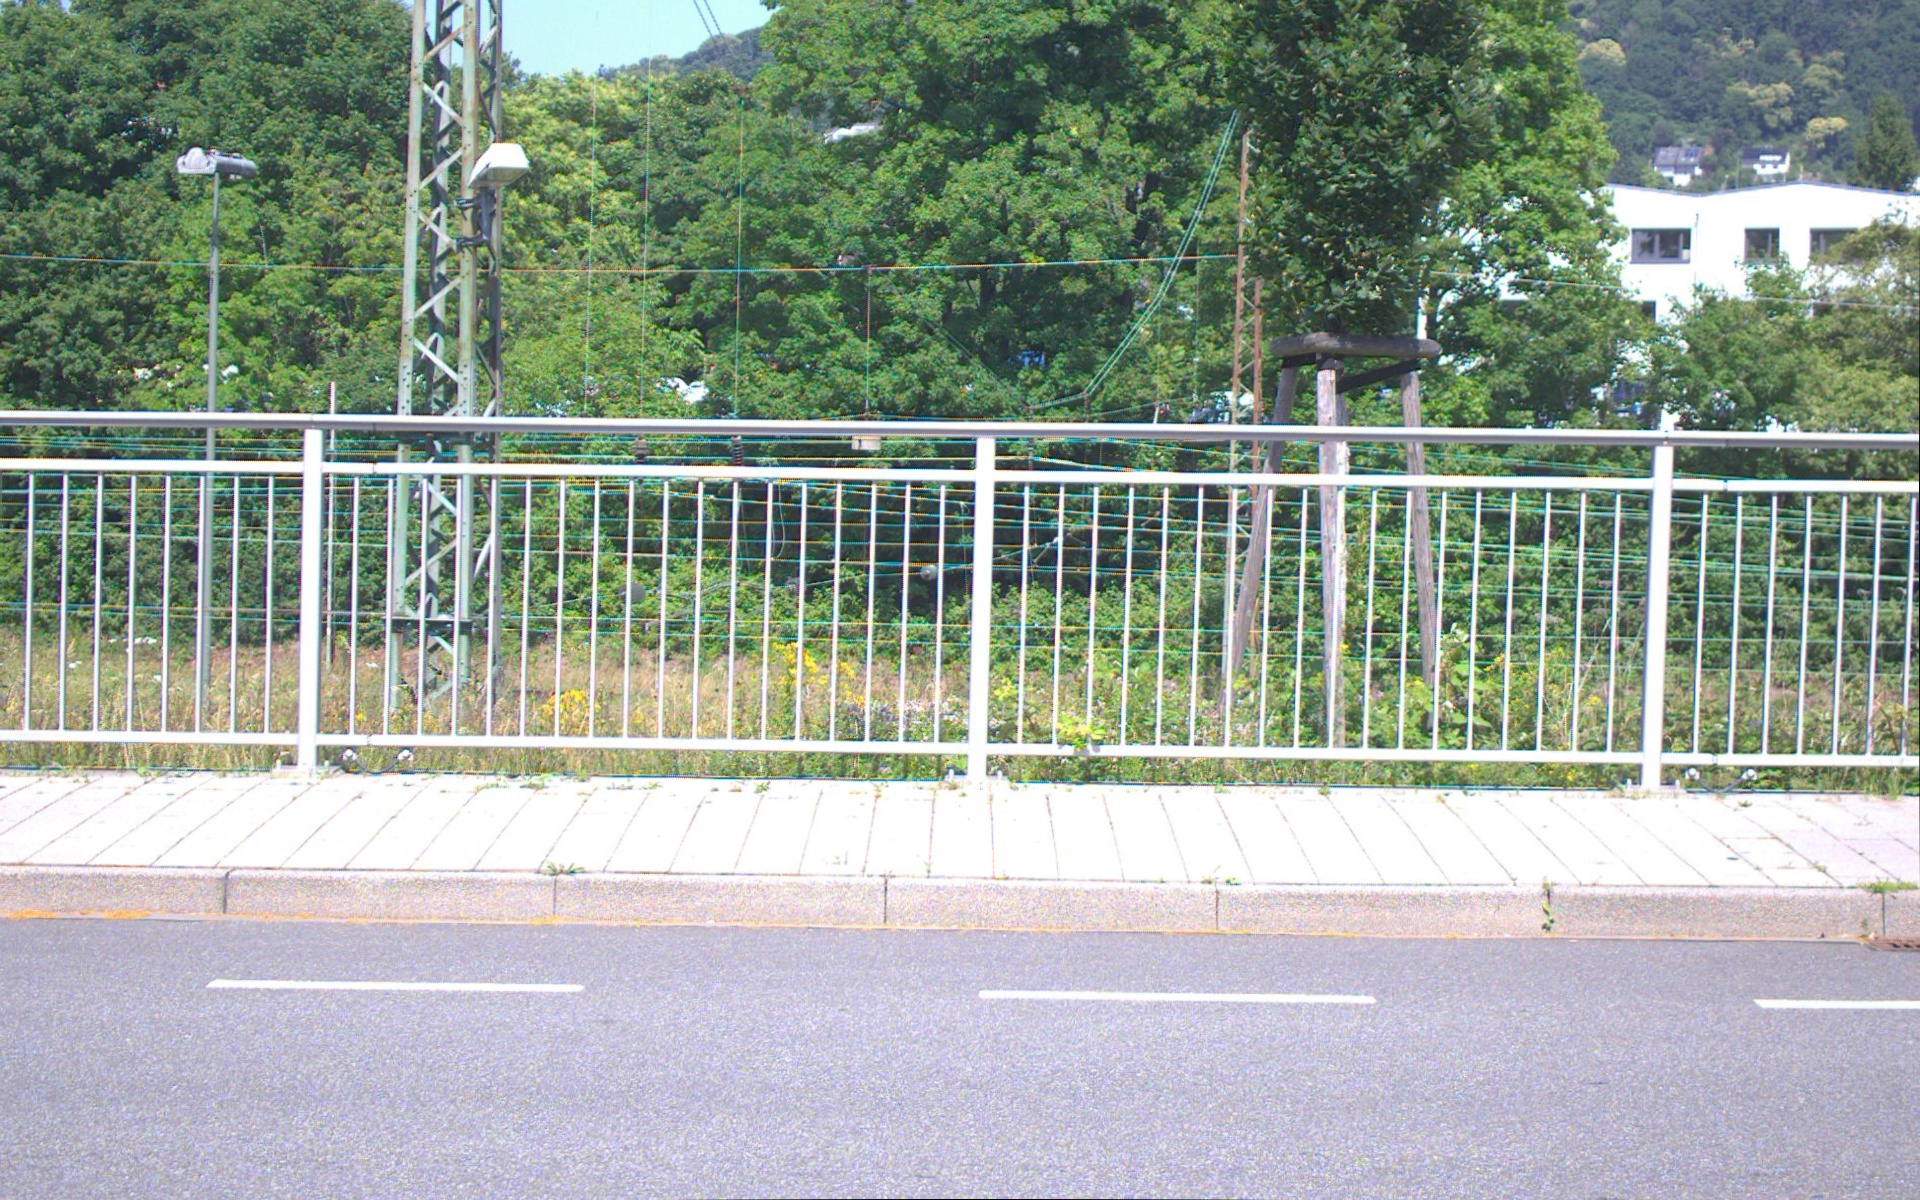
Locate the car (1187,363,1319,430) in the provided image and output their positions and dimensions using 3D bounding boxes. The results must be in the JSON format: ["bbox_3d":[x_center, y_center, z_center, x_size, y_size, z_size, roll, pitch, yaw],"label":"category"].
[{"bbox_3d":[9.412,-6.515,110.297,3.924,2.007,1.754,0,-1,18],"label":"car"}]
